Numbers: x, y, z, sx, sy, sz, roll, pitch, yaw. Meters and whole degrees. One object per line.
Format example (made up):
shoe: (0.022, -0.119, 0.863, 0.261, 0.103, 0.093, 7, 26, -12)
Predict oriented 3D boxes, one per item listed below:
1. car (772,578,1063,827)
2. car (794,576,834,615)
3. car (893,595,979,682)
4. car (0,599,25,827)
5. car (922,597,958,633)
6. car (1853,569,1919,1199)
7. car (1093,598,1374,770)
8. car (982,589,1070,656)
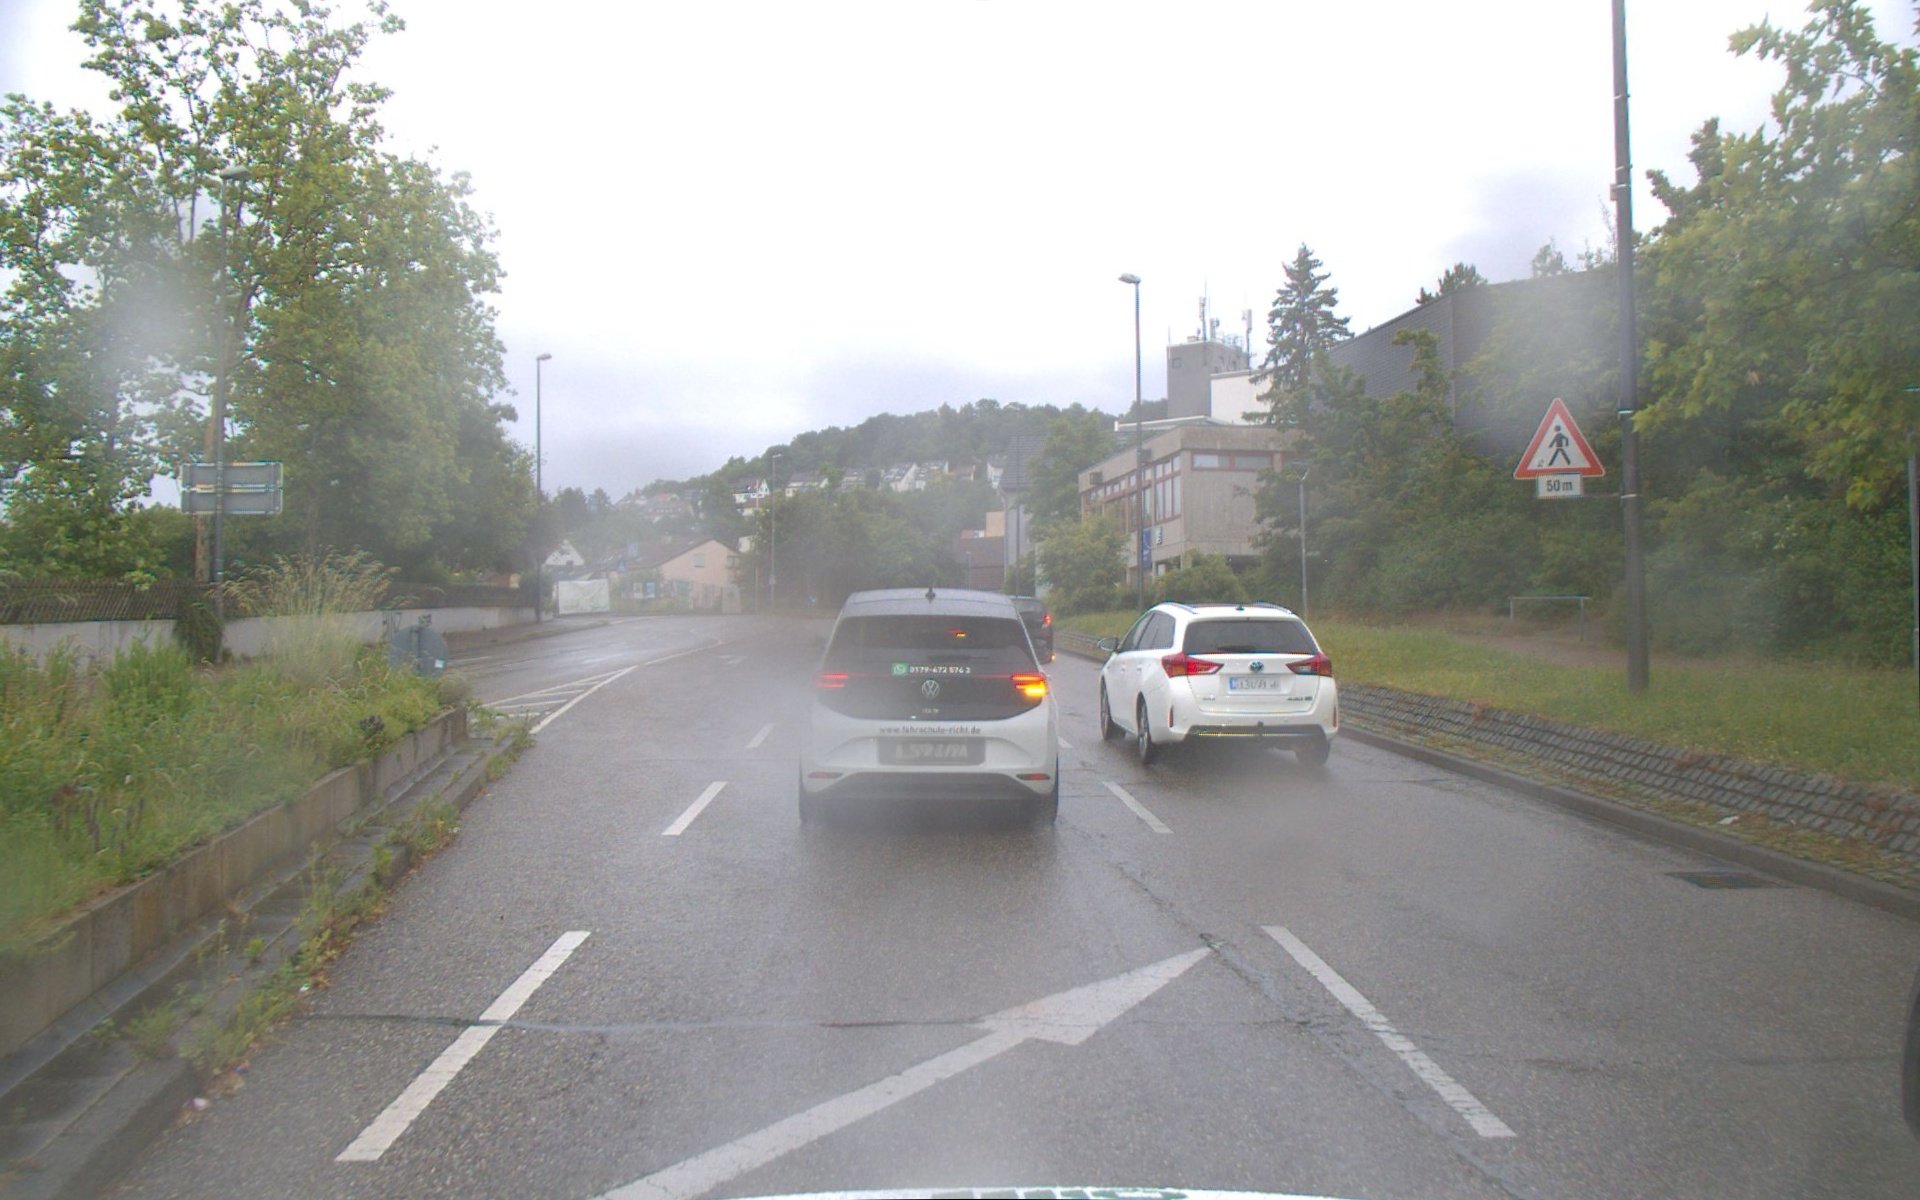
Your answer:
car: (-0.241, 0.663, 12.318, 1.791, 1.526, 4.168, 0, -1, 0)
car: (-8.070, -0.234, 91.785, 1.953, 2.049, 3.998, 1, -1, -2)
car: (-0.501, 0.677, 31.625, 1.536, 1.557, 3.998, 0, 0, -2)
car: (-8.084, 0.840, 10.267, 1.953, 1.691, 4.597, -1, 0, 0)
car: (-1.158, 0.889, 96.435, 1.952, 2.049, 4.000, 1, -1, 0)
car: (3.339, 0.705, 2.007, 1.914, 1.534, 4.607, 2, -1, -1)
car: (2.486, 0.738, 16.083, 1.811, 1.434, 4.298, 1, -1, -3)
car: (1.539, 0.549, 39.992, 1.953, 1.478, 3.770, -2, -1, 0)
